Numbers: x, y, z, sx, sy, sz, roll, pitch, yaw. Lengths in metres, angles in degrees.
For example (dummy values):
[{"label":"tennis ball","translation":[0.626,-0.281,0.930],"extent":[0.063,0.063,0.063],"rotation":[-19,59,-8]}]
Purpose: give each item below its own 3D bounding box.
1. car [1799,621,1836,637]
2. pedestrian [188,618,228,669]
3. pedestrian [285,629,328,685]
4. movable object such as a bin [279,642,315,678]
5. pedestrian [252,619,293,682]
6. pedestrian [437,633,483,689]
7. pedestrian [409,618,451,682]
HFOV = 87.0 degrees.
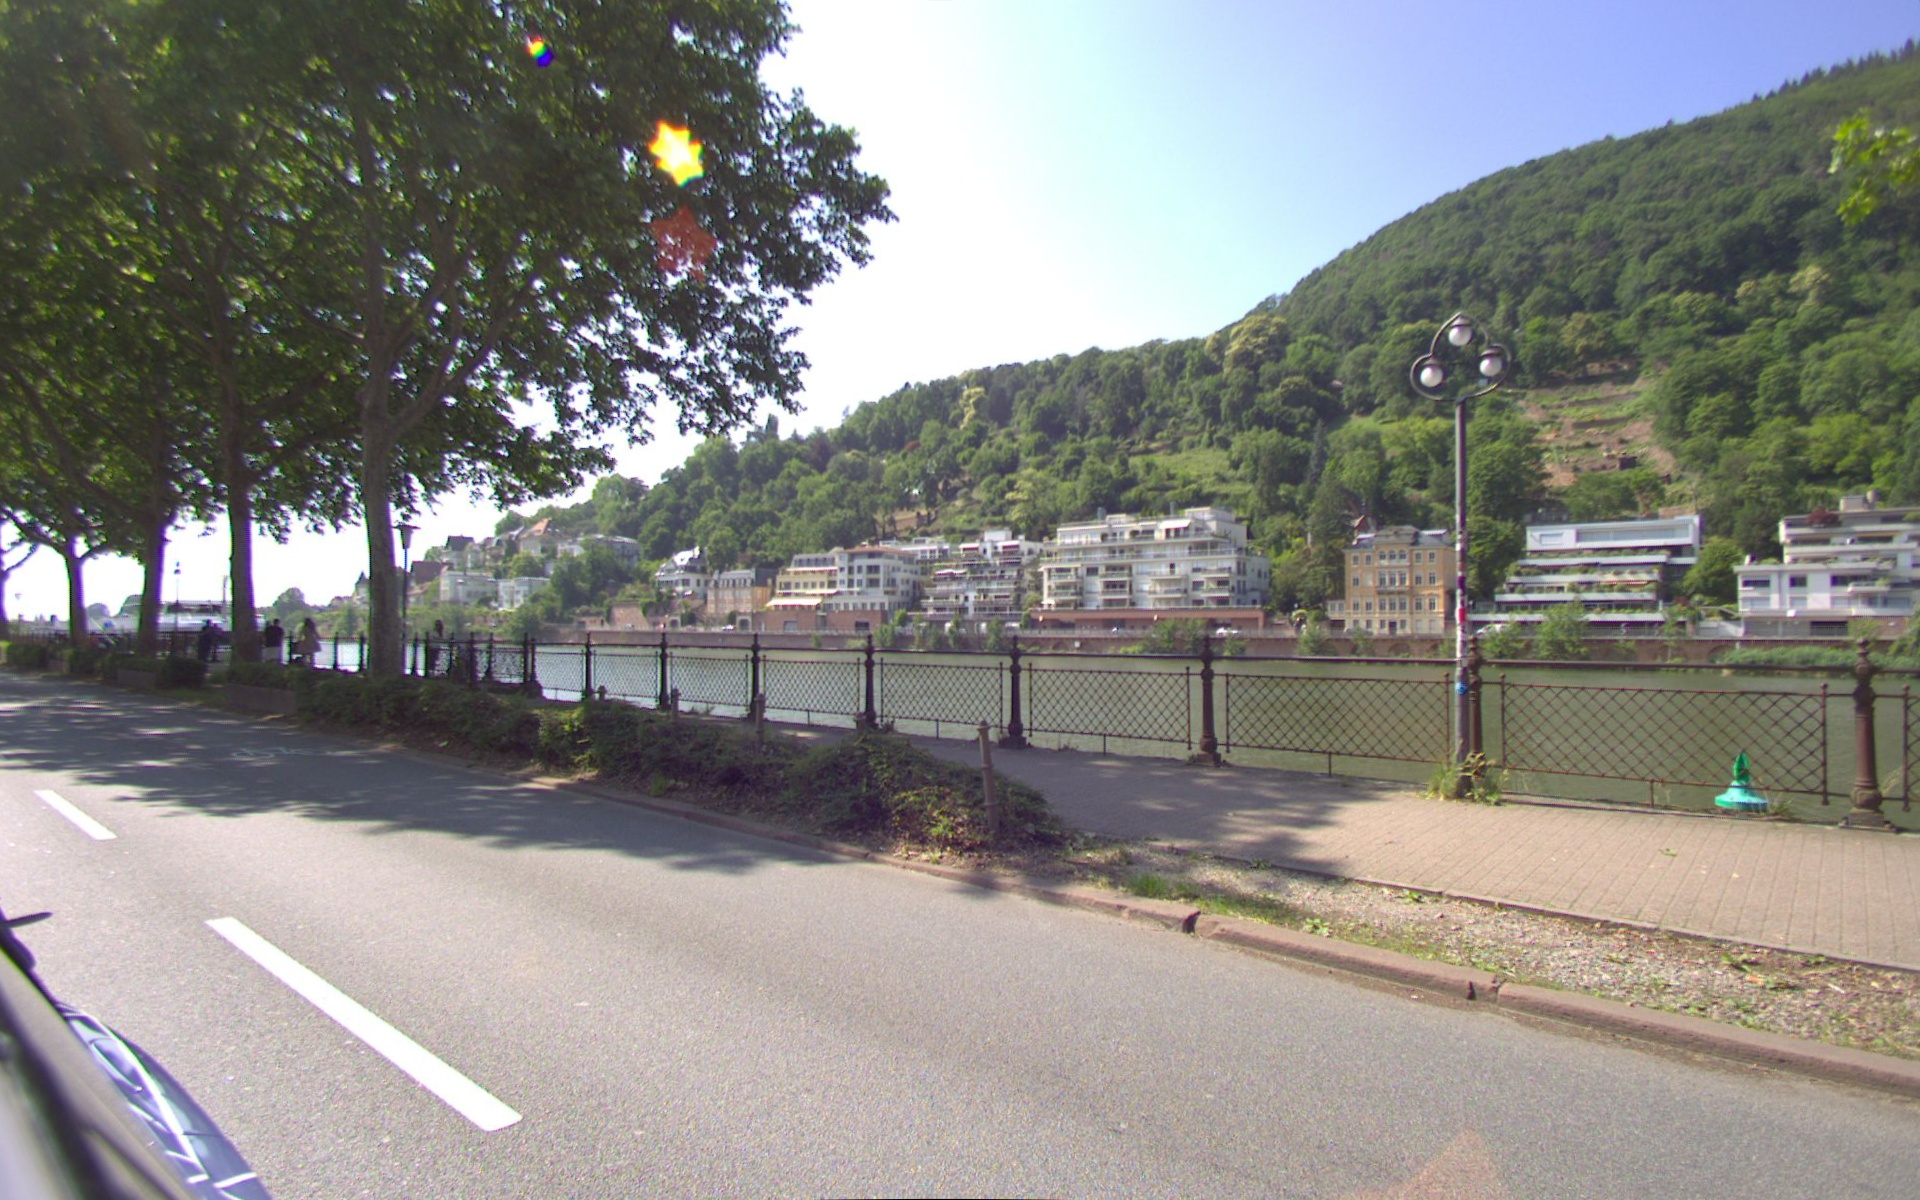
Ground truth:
[{"label":"car","translation":[125.330,4.243,147.891],"extent":[3.998,2.029,1.973],"rotation":[-4,-2,41]},{"label":"pedestrian","translation":[-30.385,1.745,40.899],"extent":[1.032,2.029,1.038],"rotation":[-1,0,-19]},{"label":"pedestrian","translation":[-19.988,1.720,30.964],"extent":[1.059,1.647,0.885],"rotation":[-1,0,44]},{"label":"movable object such as a bin","translation":[-20.671,1.870,31.562],"extent":[0.782,1.057,0.696],"rotation":[-1,0,36]},{"label":"pedestrian","translation":[-20.905,1.524,30.776],"extent":[0.928,1.863,0.796],"rotation":[-1,0,41]},{"label":"pedestrian","translation":[-12.776,1.558,25.866],"extent":[0.770,1.398,0.758],"rotation":[-2,-3,40]},{"label":"pedestrian","translation":[-15.126,1.424,28.879],"extent":[0.829,1.771,0.767],"rotation":[-2,-4,40]}]
